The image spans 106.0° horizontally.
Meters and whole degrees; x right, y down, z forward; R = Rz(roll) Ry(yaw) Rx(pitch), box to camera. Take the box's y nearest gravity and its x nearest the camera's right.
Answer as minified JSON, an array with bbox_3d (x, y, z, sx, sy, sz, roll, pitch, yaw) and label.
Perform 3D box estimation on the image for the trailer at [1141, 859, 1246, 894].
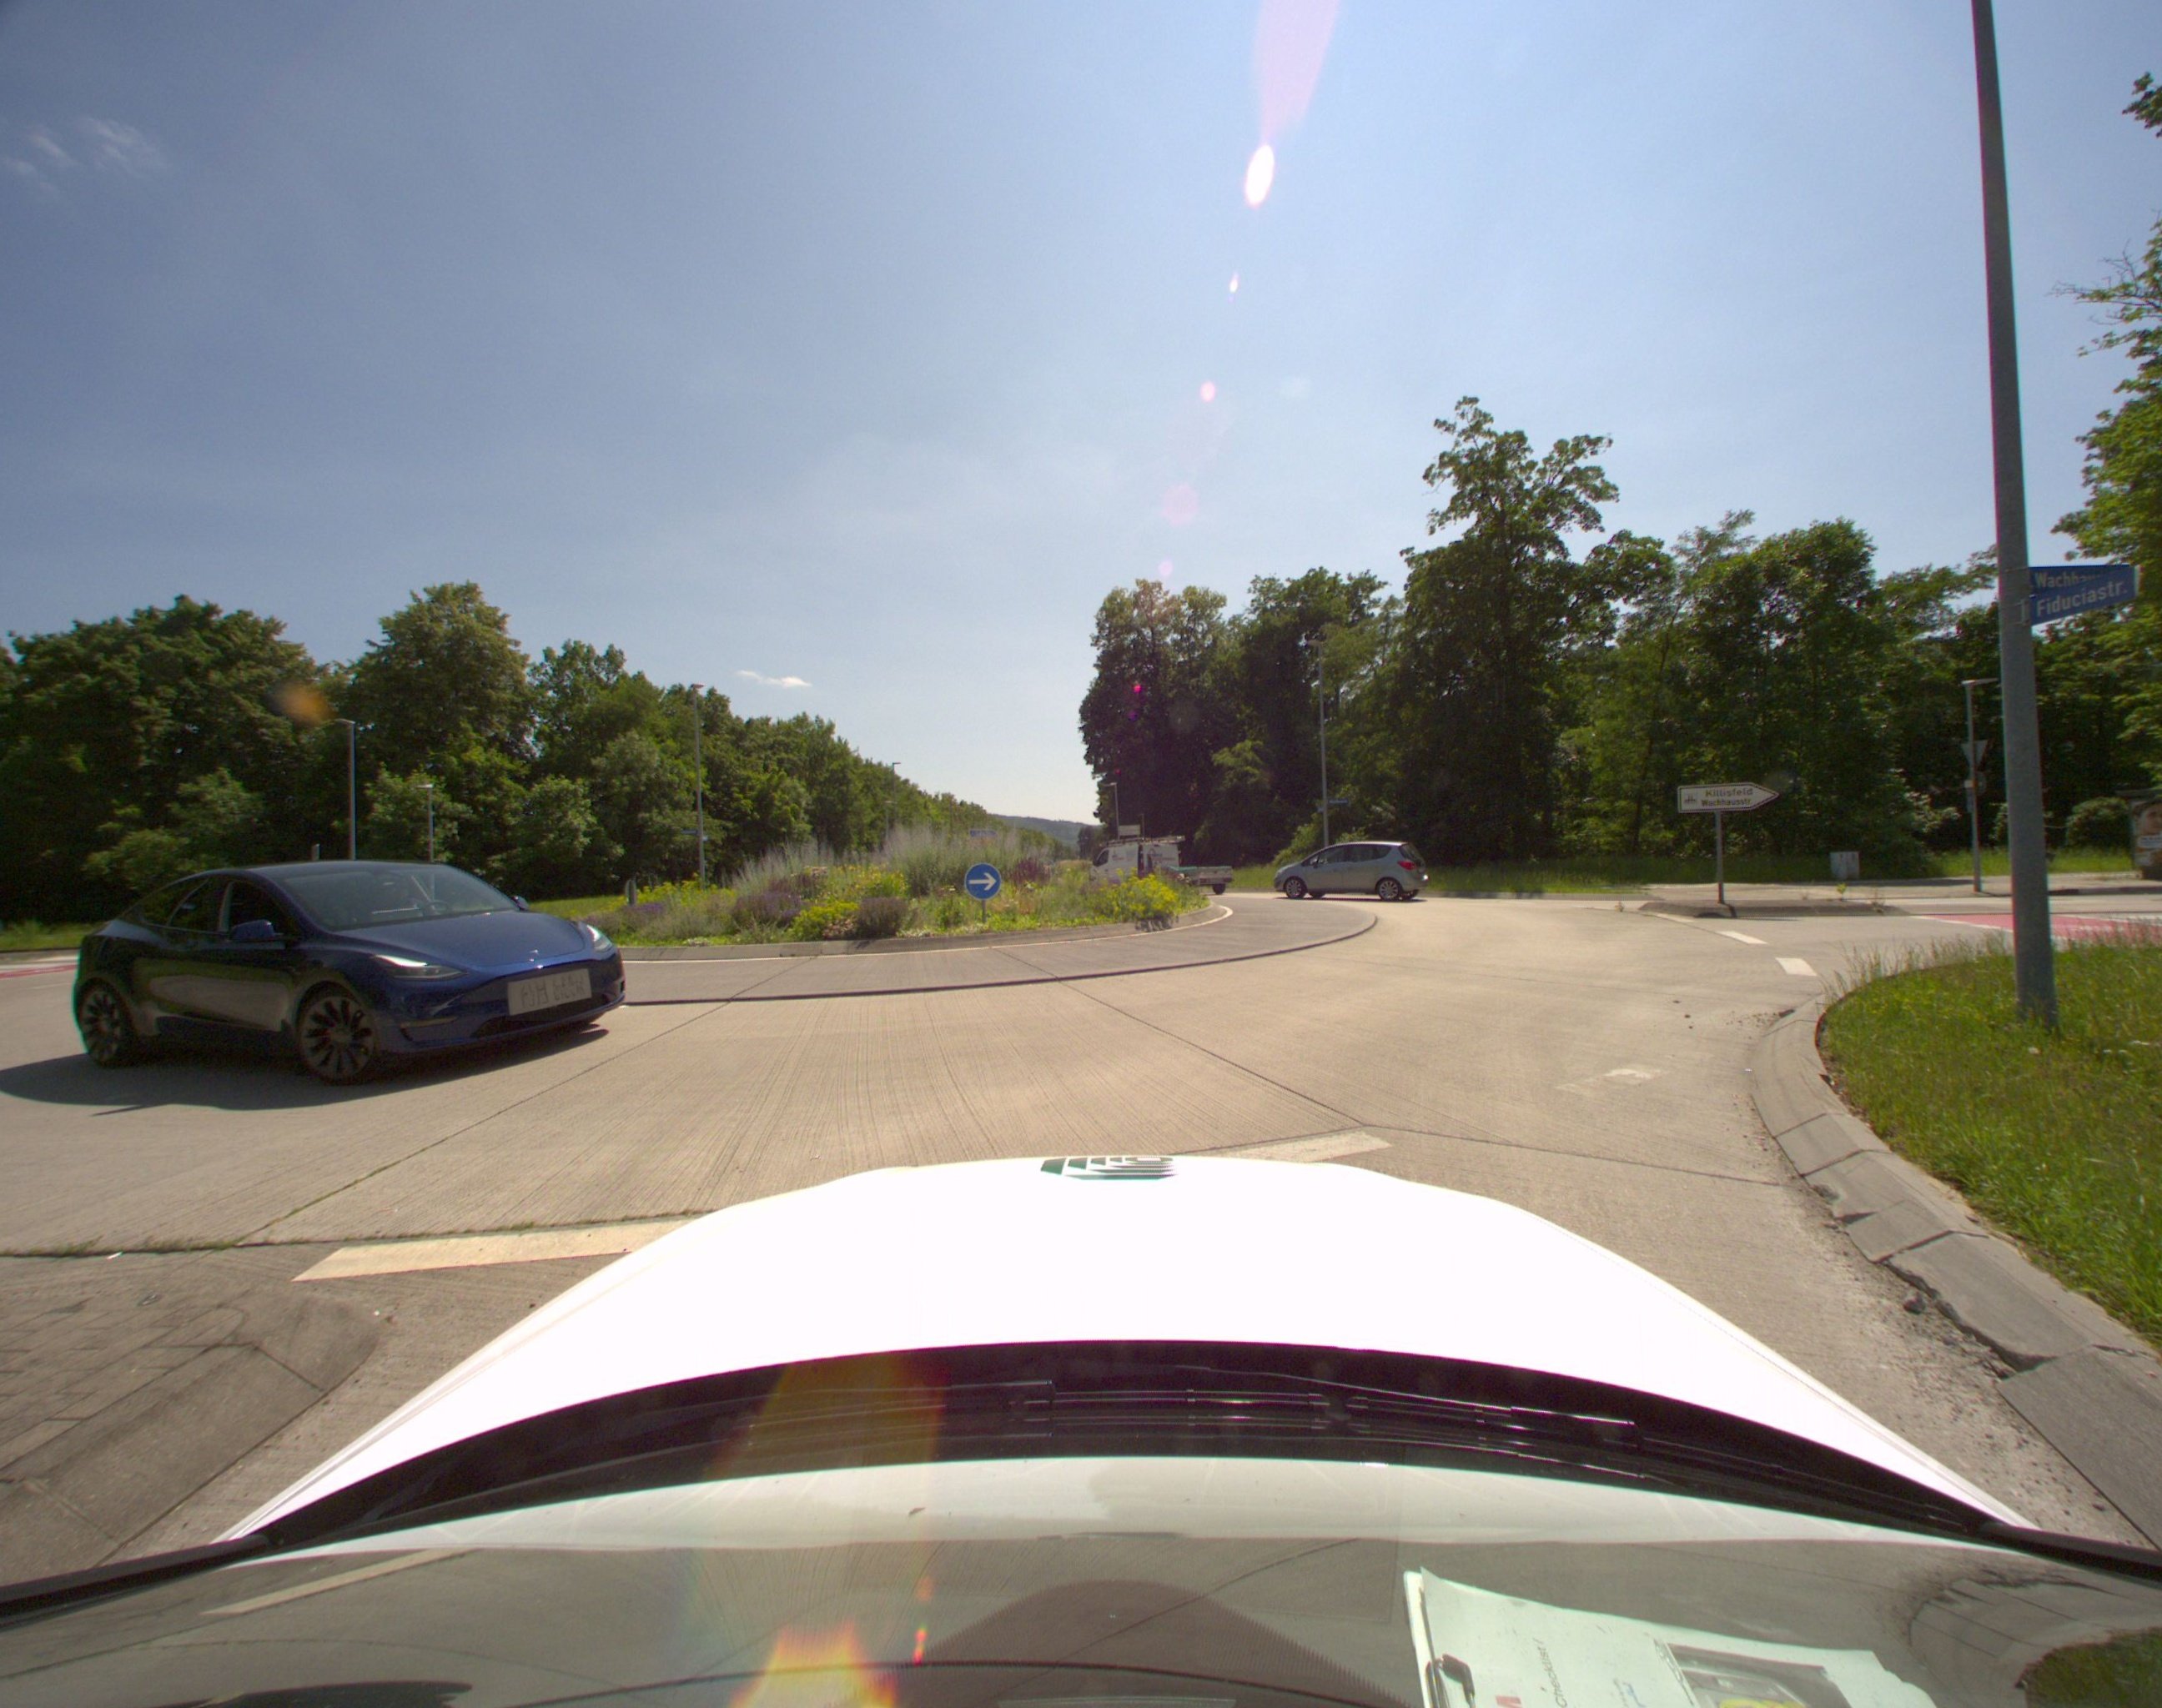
[{"bbox_3d":[3.873,0.780,28.531,2.133,1.097,3.325,-1,-1,-27],"label":"trailer"}]

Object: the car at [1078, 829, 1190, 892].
[{"bbox_3d":[1.989,0.274,32.288,2.178,2.316,4.937,-1,-1,-27],"label":"car"}]

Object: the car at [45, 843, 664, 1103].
[{"bbox_3d":[-6.165,0.819,6.934,4.700,1.640,2.011,-2,0,22],"label":"car"}]

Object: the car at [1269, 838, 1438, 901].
[{"bbox_3d":[7.538,0.432,22.693,4.074,1.607,1.802,-2,-1,37],"label":"car"}]
